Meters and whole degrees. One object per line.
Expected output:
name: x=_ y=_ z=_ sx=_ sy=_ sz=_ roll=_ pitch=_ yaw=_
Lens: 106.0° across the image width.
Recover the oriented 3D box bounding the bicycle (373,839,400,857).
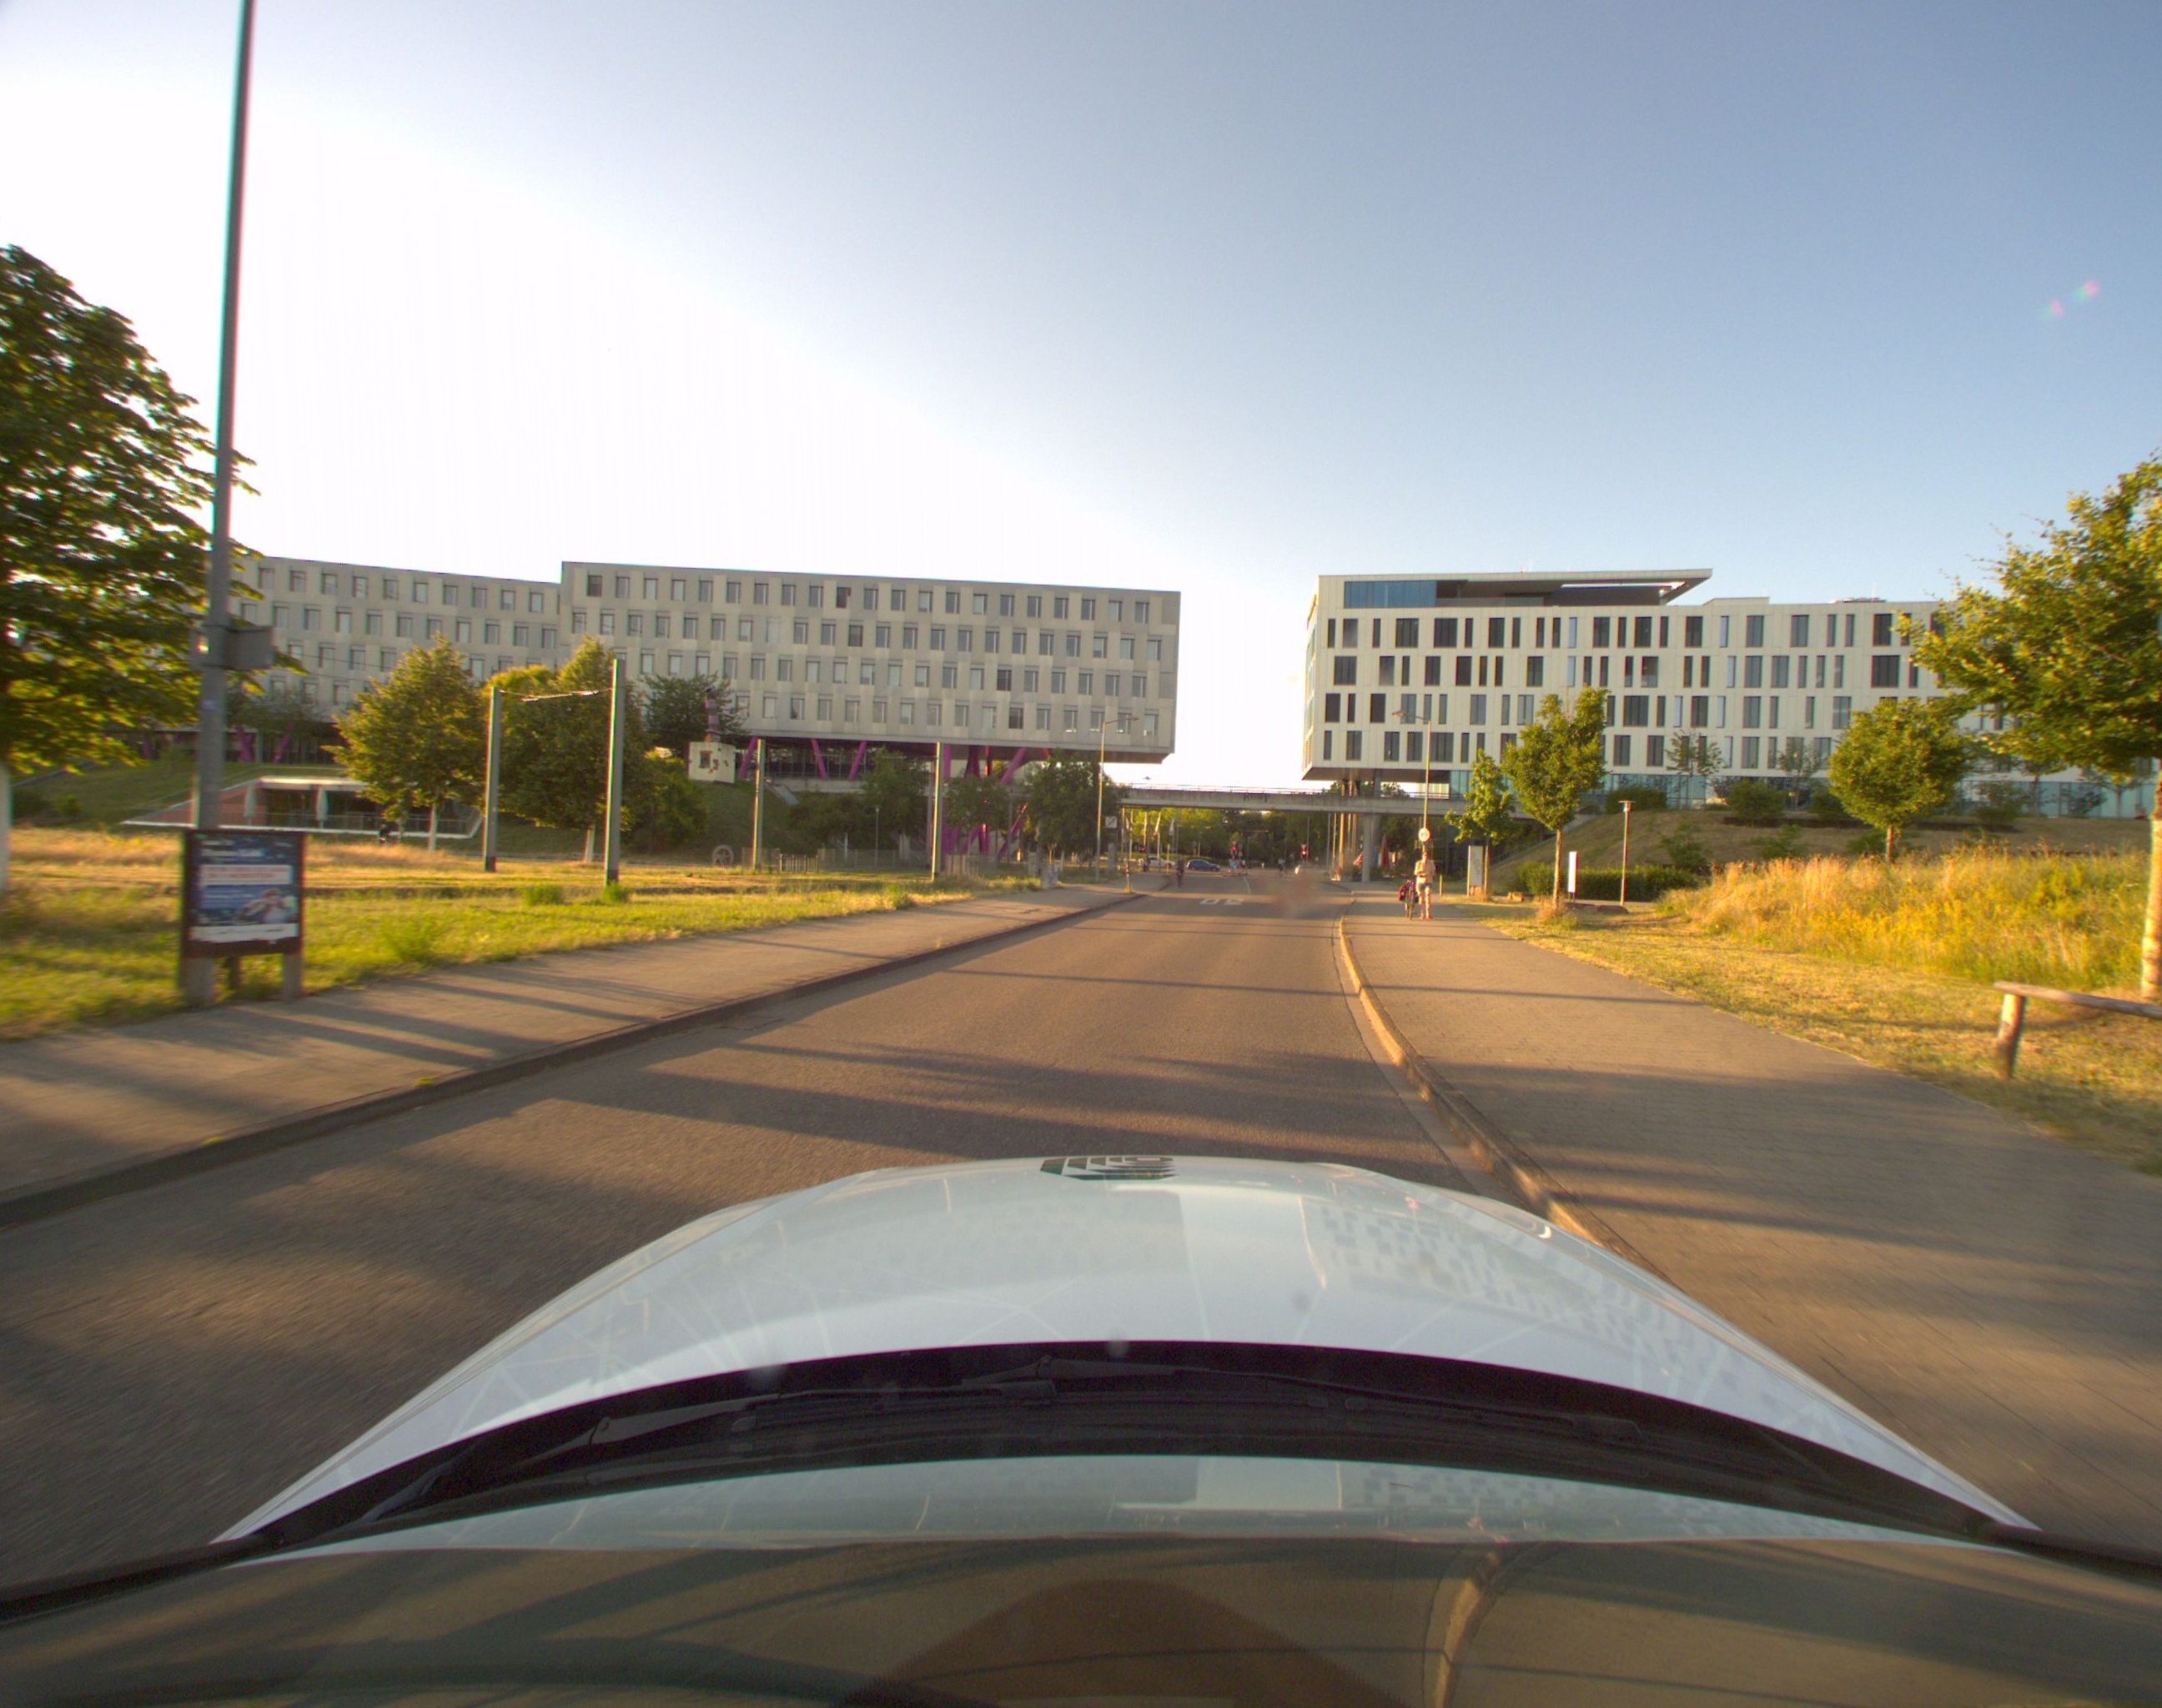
bicycle: x=-37.532 y=-0.318 z=43.985 sx=1.223 sy=0.900 sz=0.432 roll=2 pitch=0 yaw=12

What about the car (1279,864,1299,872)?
car: x=50.392 y=3.382 z=197.242 sx=4.647 sy=1.869 sz=2.022 roll=2 pitch=1 yaw=18

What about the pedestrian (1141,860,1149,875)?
pedestrian: x=7.282 y=1.515 z=92.711 sx=0.679 sy=1.624 sz=0.716 roll=2 pitch=0 yaw=29

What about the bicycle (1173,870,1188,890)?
bicycle: x=5.731 y=1.488 z=46.869 sx=0.534 sy=1.043 sz=1.933 roll=2 pitch=1 yaw=16

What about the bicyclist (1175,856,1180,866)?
bicyclist: x=17.298 y=1.259 z=145.594 sx=0.758 sy=1.723 sz=0.550 roll=2 pitch=0 yaw=-14

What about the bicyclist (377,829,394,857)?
bicyclist: x=-37.590 y=-0.604 z=43.997 sx=0.509 sy=1.494 sz=0.426 roll=2 pitch=0 yaw=13

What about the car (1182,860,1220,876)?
car: x=15.439 y=1.846 z=104.952 sx=4.695 sy=1.828 sz=1.894 roll=2 pitch=1 yaw=2

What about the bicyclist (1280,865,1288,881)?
bicyclist: x=23.022 y=2.184 z=92.442 sx=0.854 sy=1.731 sz=0.608 roll=2 pitch=0 yaw=16

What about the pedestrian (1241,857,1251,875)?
pedestrian: x=18.832 y=1.367 z=93.089 sx=0.905 sy=1.990 sz=0.772 roll=2 pitch=0 yaw=3

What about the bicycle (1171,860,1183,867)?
bicycle: x=17.213 y=1.702 z=145.558 sx=1.965 sy=1.128 sz=0.558 roll=2 pitch=0 yaw=-14

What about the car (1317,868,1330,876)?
car: x=52.570 y=3.981 z=176.420 sx=1.483 sy=1.606 sz=3.424 roll=2 pitch=1 yaw=38

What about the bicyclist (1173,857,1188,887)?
bicyclist: x=5.735 y=1.030 z=46.861 sx=0.610 sy=1.662 sz=1.041 roll=2 pitch=0 yaw=16

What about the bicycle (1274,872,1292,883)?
bicycle: x=22.959 y=2.665 z=92.457 sx=1.956 sy=1.092 sz=0.624 roll=2 pitch=0 yaw=15

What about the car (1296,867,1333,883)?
car: x=29.678 y=2.676 z=103.596 sx=4.387 sy=1.724 sz=1.840 roll=2 pitch=1 yaw=9

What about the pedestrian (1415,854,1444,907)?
pedestrian: x=12.191 y=0.914 z=28.495 sx=0.825 sy=1.766 sz=0.822 roll=2 pitch=0 yaw=18

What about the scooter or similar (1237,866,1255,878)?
scooter or similar: x=18.870 y=2.060 z=93.086 sx=1.852 sy=1.174 sz=0.765 roll=2 pitch=0 yaw=3

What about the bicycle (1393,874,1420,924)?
bicycle: x=8.373 y=1.120 z=20.983 sx=0.446 sy=1.168 sz=1.950 roll=2 pitch=1 yaw=18

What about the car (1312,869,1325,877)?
car: x=50.553 y=3.949 z=173.287 sx=1.483 sy=1.606 sz=3.424 roll=2 pitch=1 yaw=38

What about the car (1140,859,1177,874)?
car: x=10.360 y=1.624 z=109.013 sx=4.656 sy=1.828 sz=1.841 roll=2 pitch=1 yaw=12

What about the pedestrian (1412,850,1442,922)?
pedestrian: x=8.919 y=0.814 z=21.034 sx=0.590 sy=1.801 sz=0.822 roll=2 pitch=0 yaw=19

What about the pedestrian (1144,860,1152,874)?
pedestrian: x=7.663 y=1.489 z=93.378 sx=0.694 sy=1.664 sz=0.716 roll=2 pitch=0 yaw=29

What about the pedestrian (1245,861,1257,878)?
pedestrian: x=18.866 y=1.751 z=90.561 sx=1.051 sy=1.834 sz=0.895 roll=2 pitch=0 yaw=-2
